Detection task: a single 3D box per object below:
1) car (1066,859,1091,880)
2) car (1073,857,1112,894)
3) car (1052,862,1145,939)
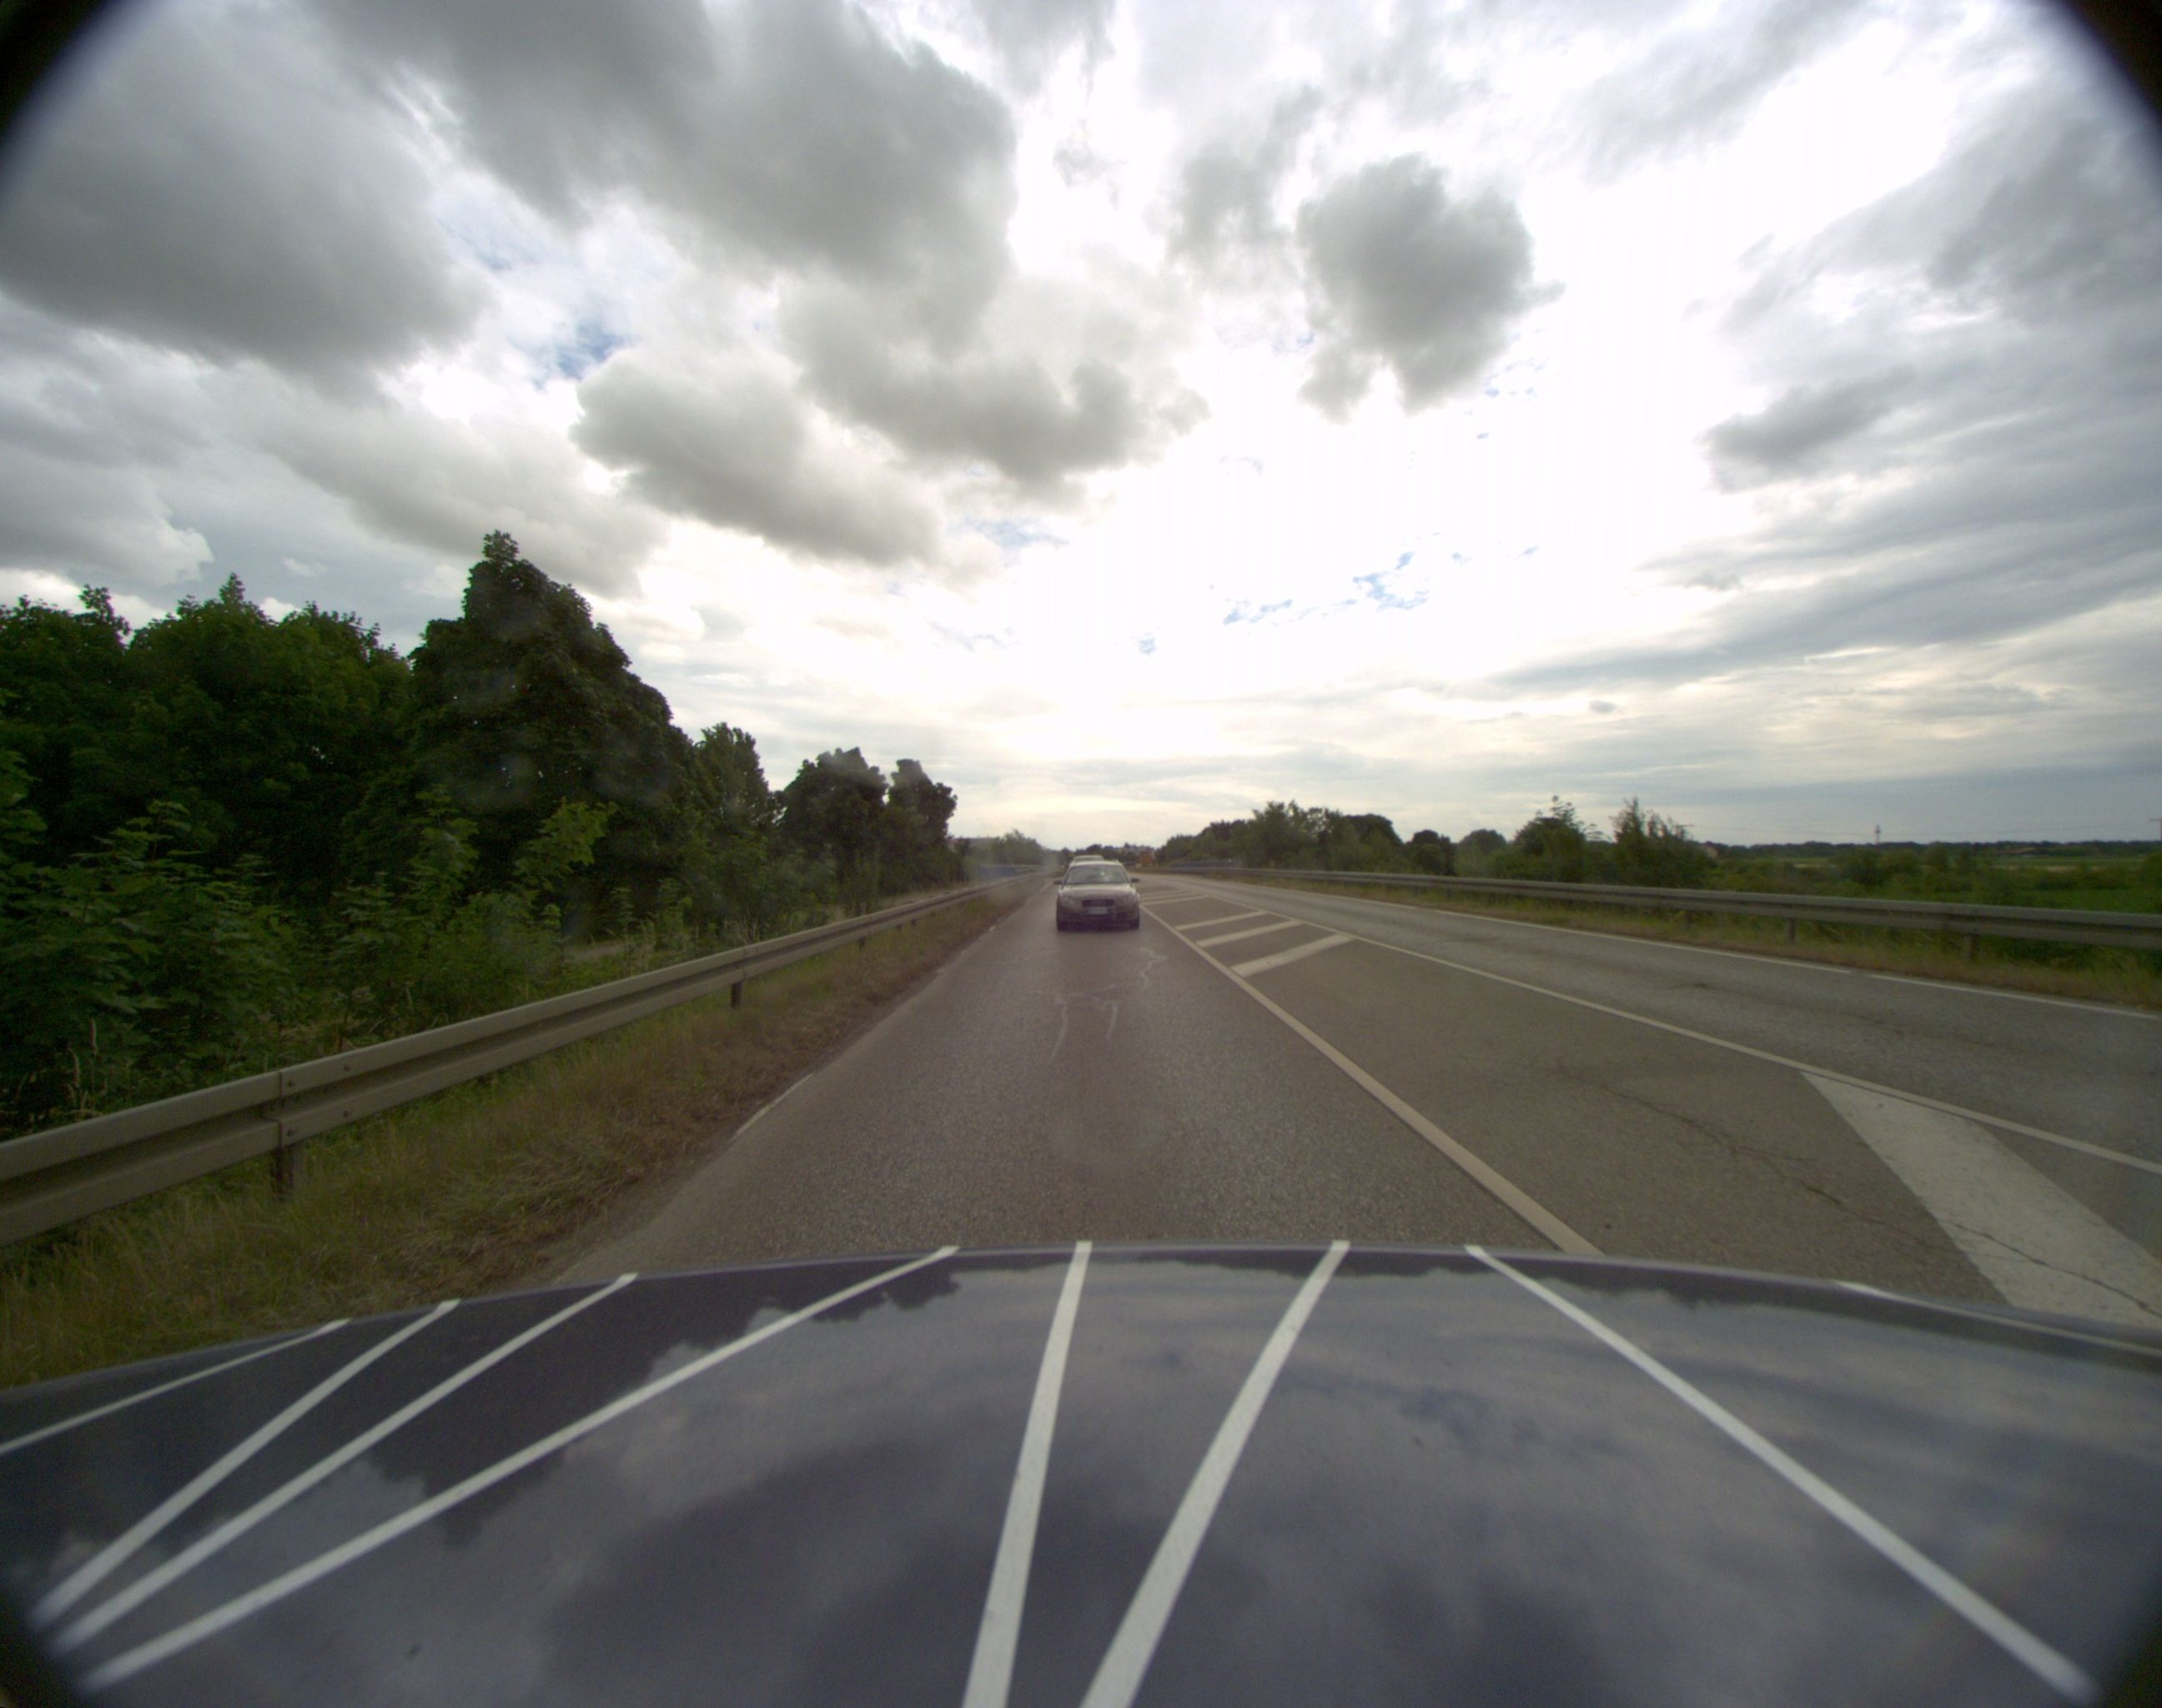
[{"bbox_3d":[-0.187,1.040,53.119,1.670,1.339,4.000,-2,0,0],"label":"car"},{"bbox_3d":[0.521,0.937,34.520,1.603,1.494,3.962,-2,0,1],"label":"car"},{"bbox_3d":[0.333,0.926,16.771,1.768,1.383,3.876,-2,0,-1],"label":"car"}]
